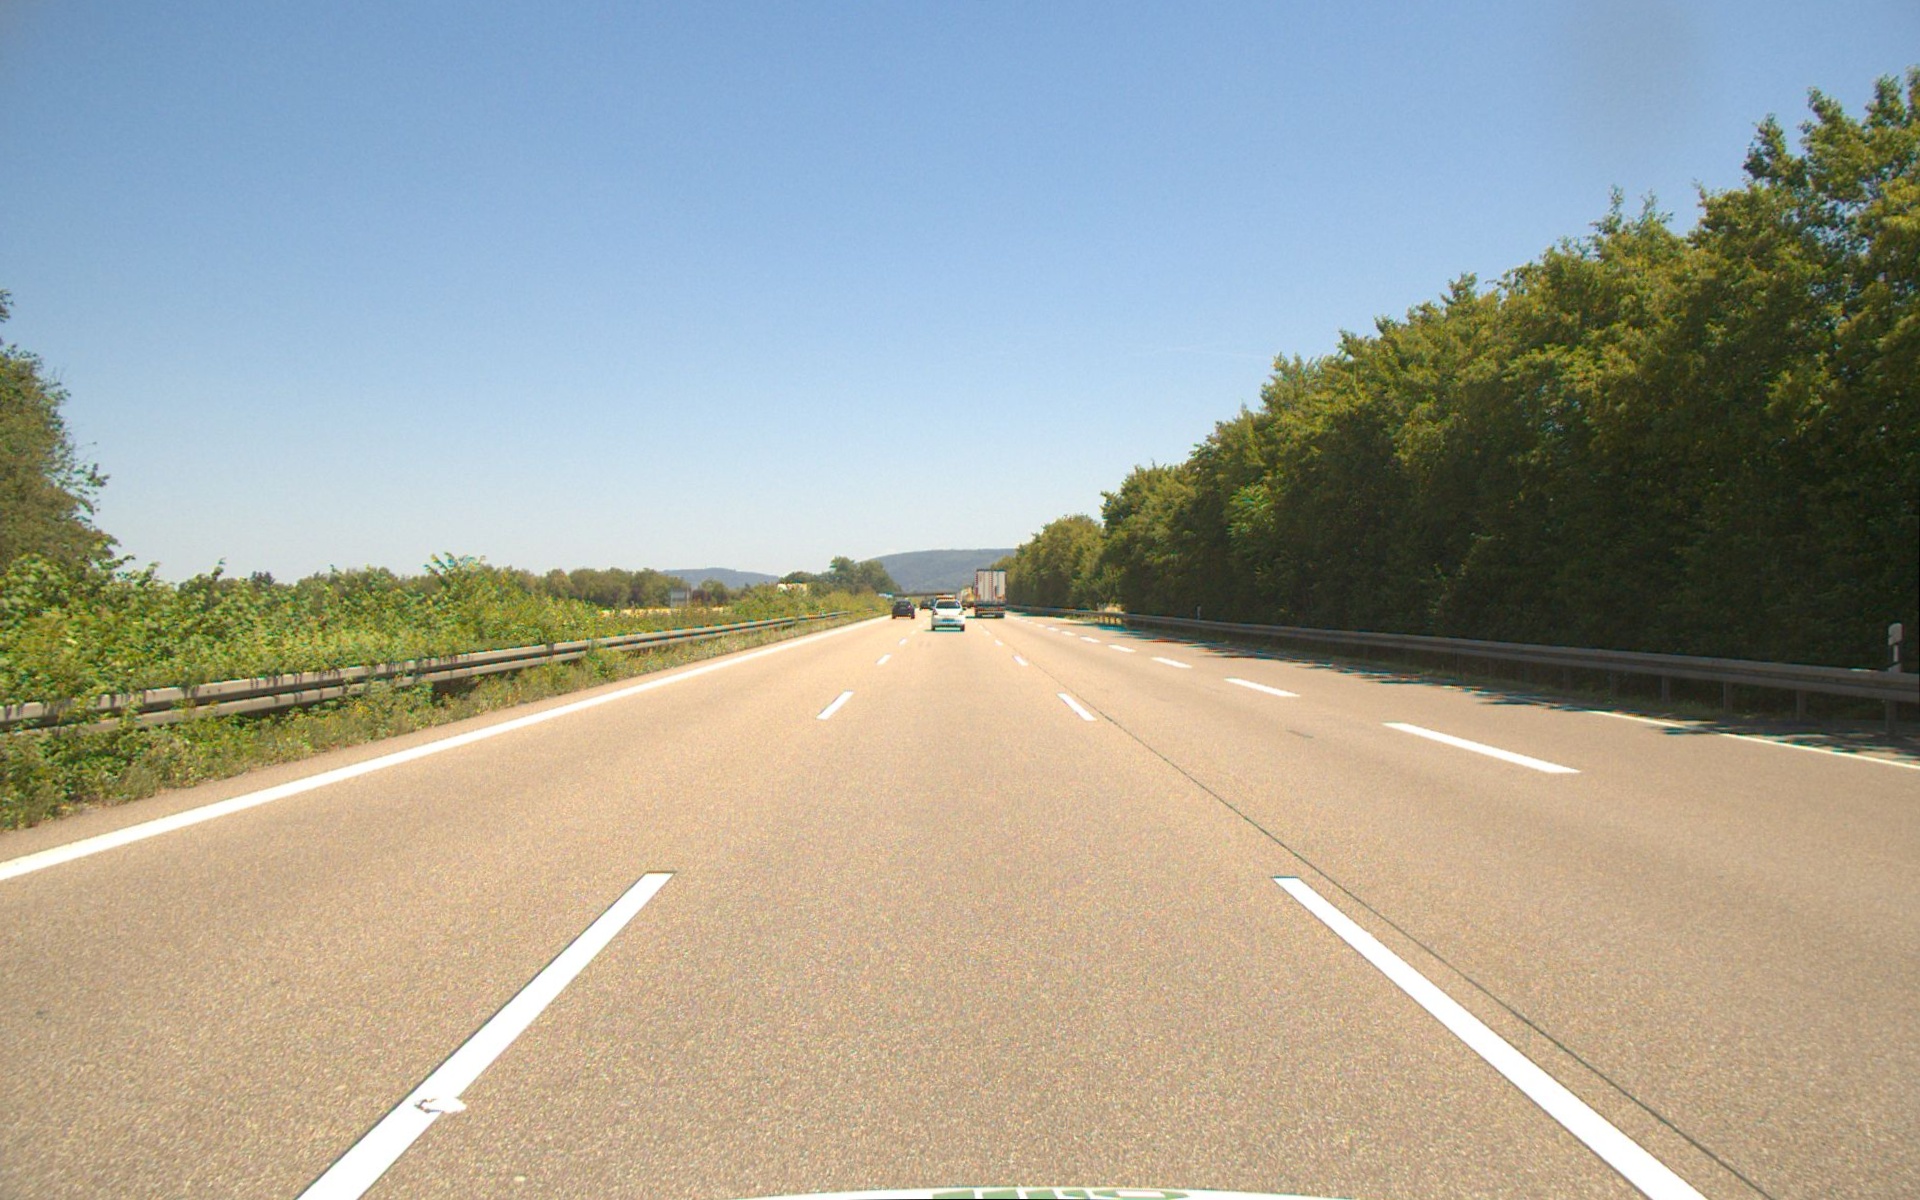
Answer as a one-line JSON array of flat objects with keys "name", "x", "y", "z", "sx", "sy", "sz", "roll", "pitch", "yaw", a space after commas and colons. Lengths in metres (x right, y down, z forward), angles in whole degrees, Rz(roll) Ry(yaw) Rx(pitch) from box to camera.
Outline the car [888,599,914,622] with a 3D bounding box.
[{"name": "car", "x": -4.657, "y": 0.810, "z": 130.246, "sx": 1.953, "sy": 1.742, "sz": 3.999, "roll": 1, "pitch": 0, "yaw": -1}]

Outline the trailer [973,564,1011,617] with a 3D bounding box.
[{"name": "trailer", "x": 2.876, "y": -0.773, "z": 145.667, "sx": 3.151, "sy": 4.421, "sz": 13.632, "roll": 1, "pitch": 0, "yaw": 2}]

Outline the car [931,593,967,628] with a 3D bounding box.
[{"name": "car", "x": -0.568, "y": 0.505, "z": 82.520, "sx": 1.697, "sy": 1.713, "sz": 3.999, "roll": -1, "pitch": 0, "yaw": -1}]

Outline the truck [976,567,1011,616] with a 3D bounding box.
[{"name": "truck", "x": 3.127, "y": -0.756, "z": 153.258, "sx": 3.151, "sy": 4.421, "sz": 6.592, "roll": 1, "pitch": 0, "yaw": 2}]

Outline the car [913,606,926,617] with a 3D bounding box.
[{"name": "car", "x": -5.834, "y": 1.714, "z": 239.631, "sx": 1.759, "sy": 1.578, "sz": 3.999, "roll": 0, "pitch": 0, "yaw": -1}]
